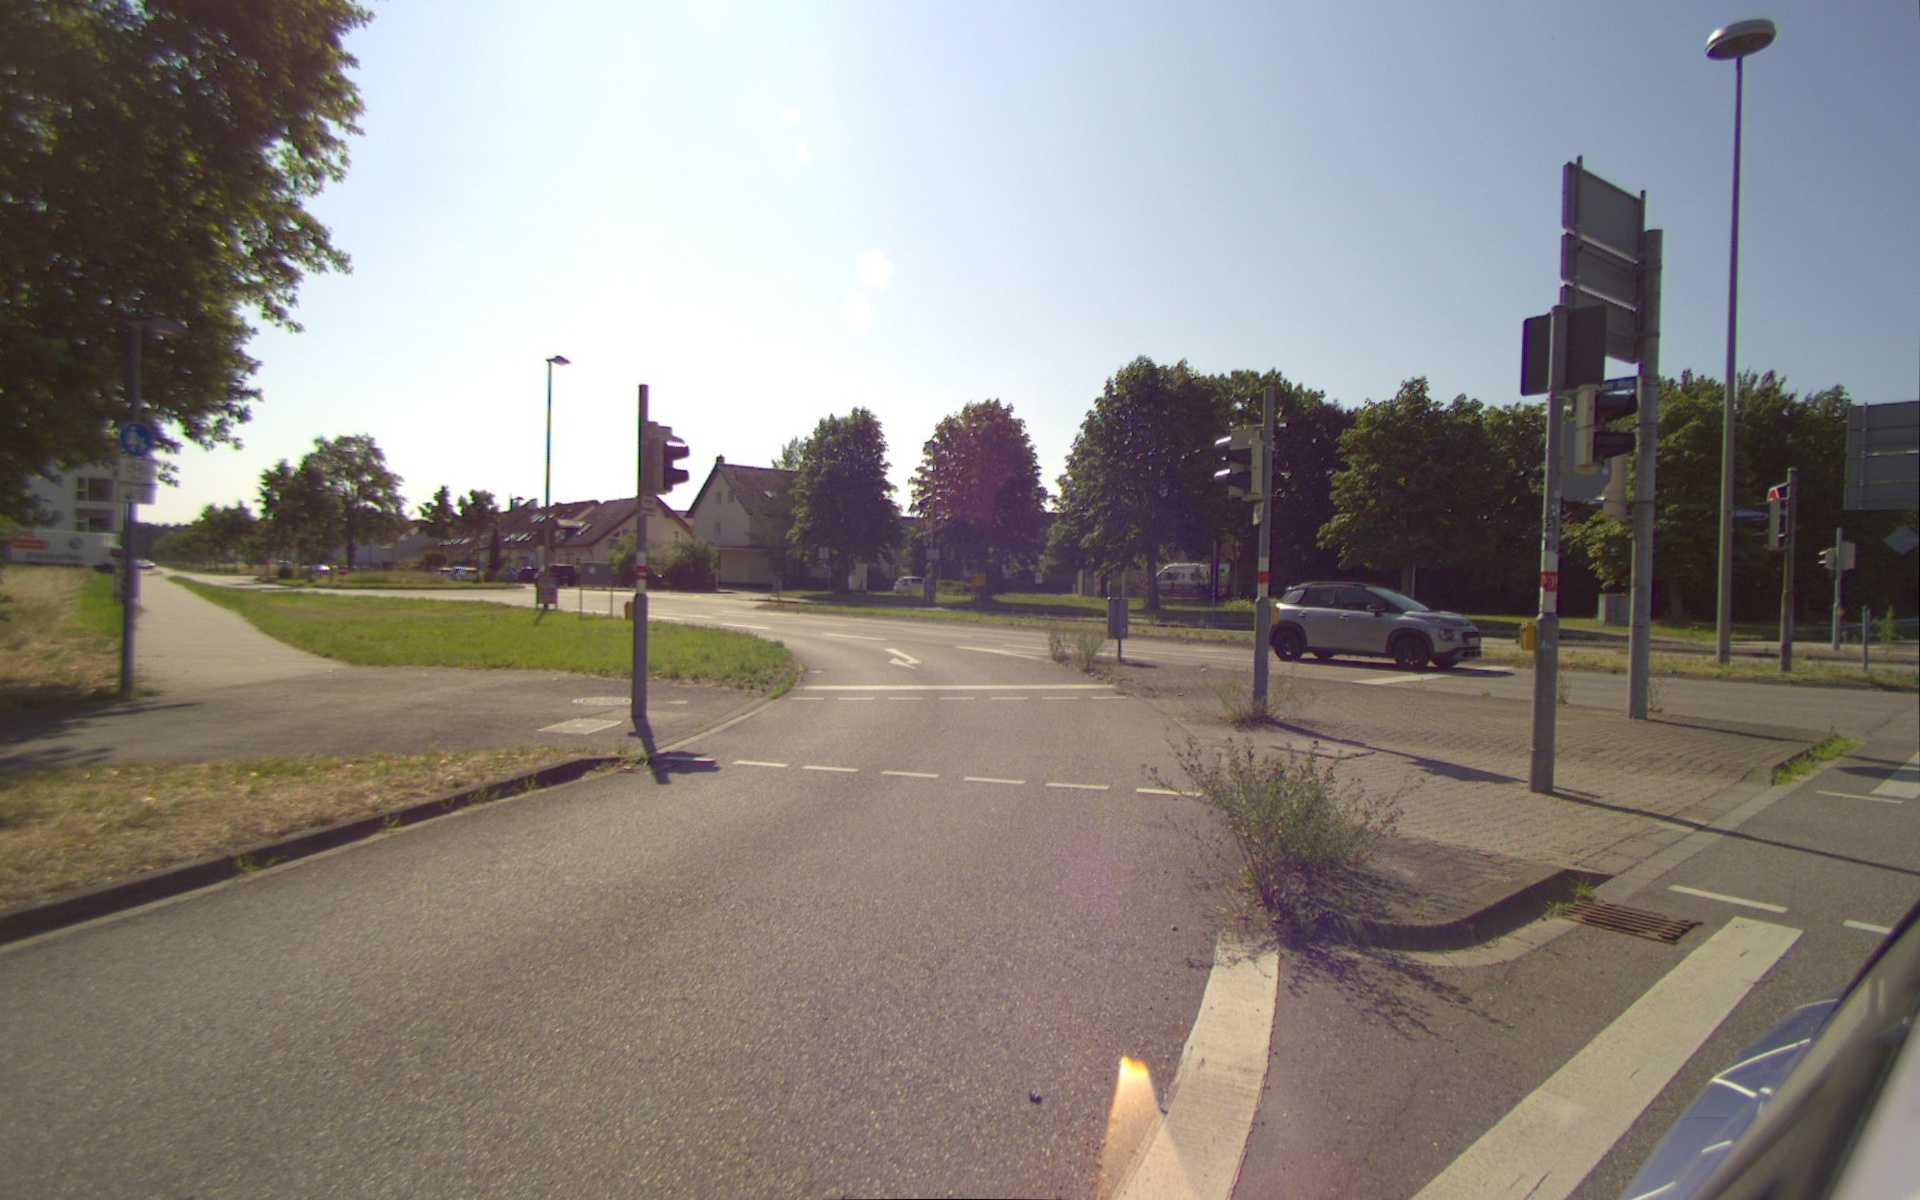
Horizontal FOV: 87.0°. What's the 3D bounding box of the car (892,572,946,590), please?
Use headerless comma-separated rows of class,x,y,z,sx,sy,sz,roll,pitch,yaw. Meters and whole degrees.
car,-3.141,-1.432,77.865,3.929,1.304,1.731,0,2,-40

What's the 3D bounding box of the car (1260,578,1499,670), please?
car,8.272,0.396,20.229,1.712,1.583,4.059,0,2,-41

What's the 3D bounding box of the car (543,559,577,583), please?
car,-31.632,-2.285,80.003,1.960,1.812,4.005,0,2,-30

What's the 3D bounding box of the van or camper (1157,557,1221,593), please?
van or camper,18.693,-2.052,82.868,1.966,2.867,4.806,0,2,-43

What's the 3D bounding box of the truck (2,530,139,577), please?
truck,-73.111,-3.782,83.389,8.082,3.589,2.638,0,1,-24

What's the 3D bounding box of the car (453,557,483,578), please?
car,-48.789,-3.231,100.401,1.963,1.950,3.998,0,1,-37
